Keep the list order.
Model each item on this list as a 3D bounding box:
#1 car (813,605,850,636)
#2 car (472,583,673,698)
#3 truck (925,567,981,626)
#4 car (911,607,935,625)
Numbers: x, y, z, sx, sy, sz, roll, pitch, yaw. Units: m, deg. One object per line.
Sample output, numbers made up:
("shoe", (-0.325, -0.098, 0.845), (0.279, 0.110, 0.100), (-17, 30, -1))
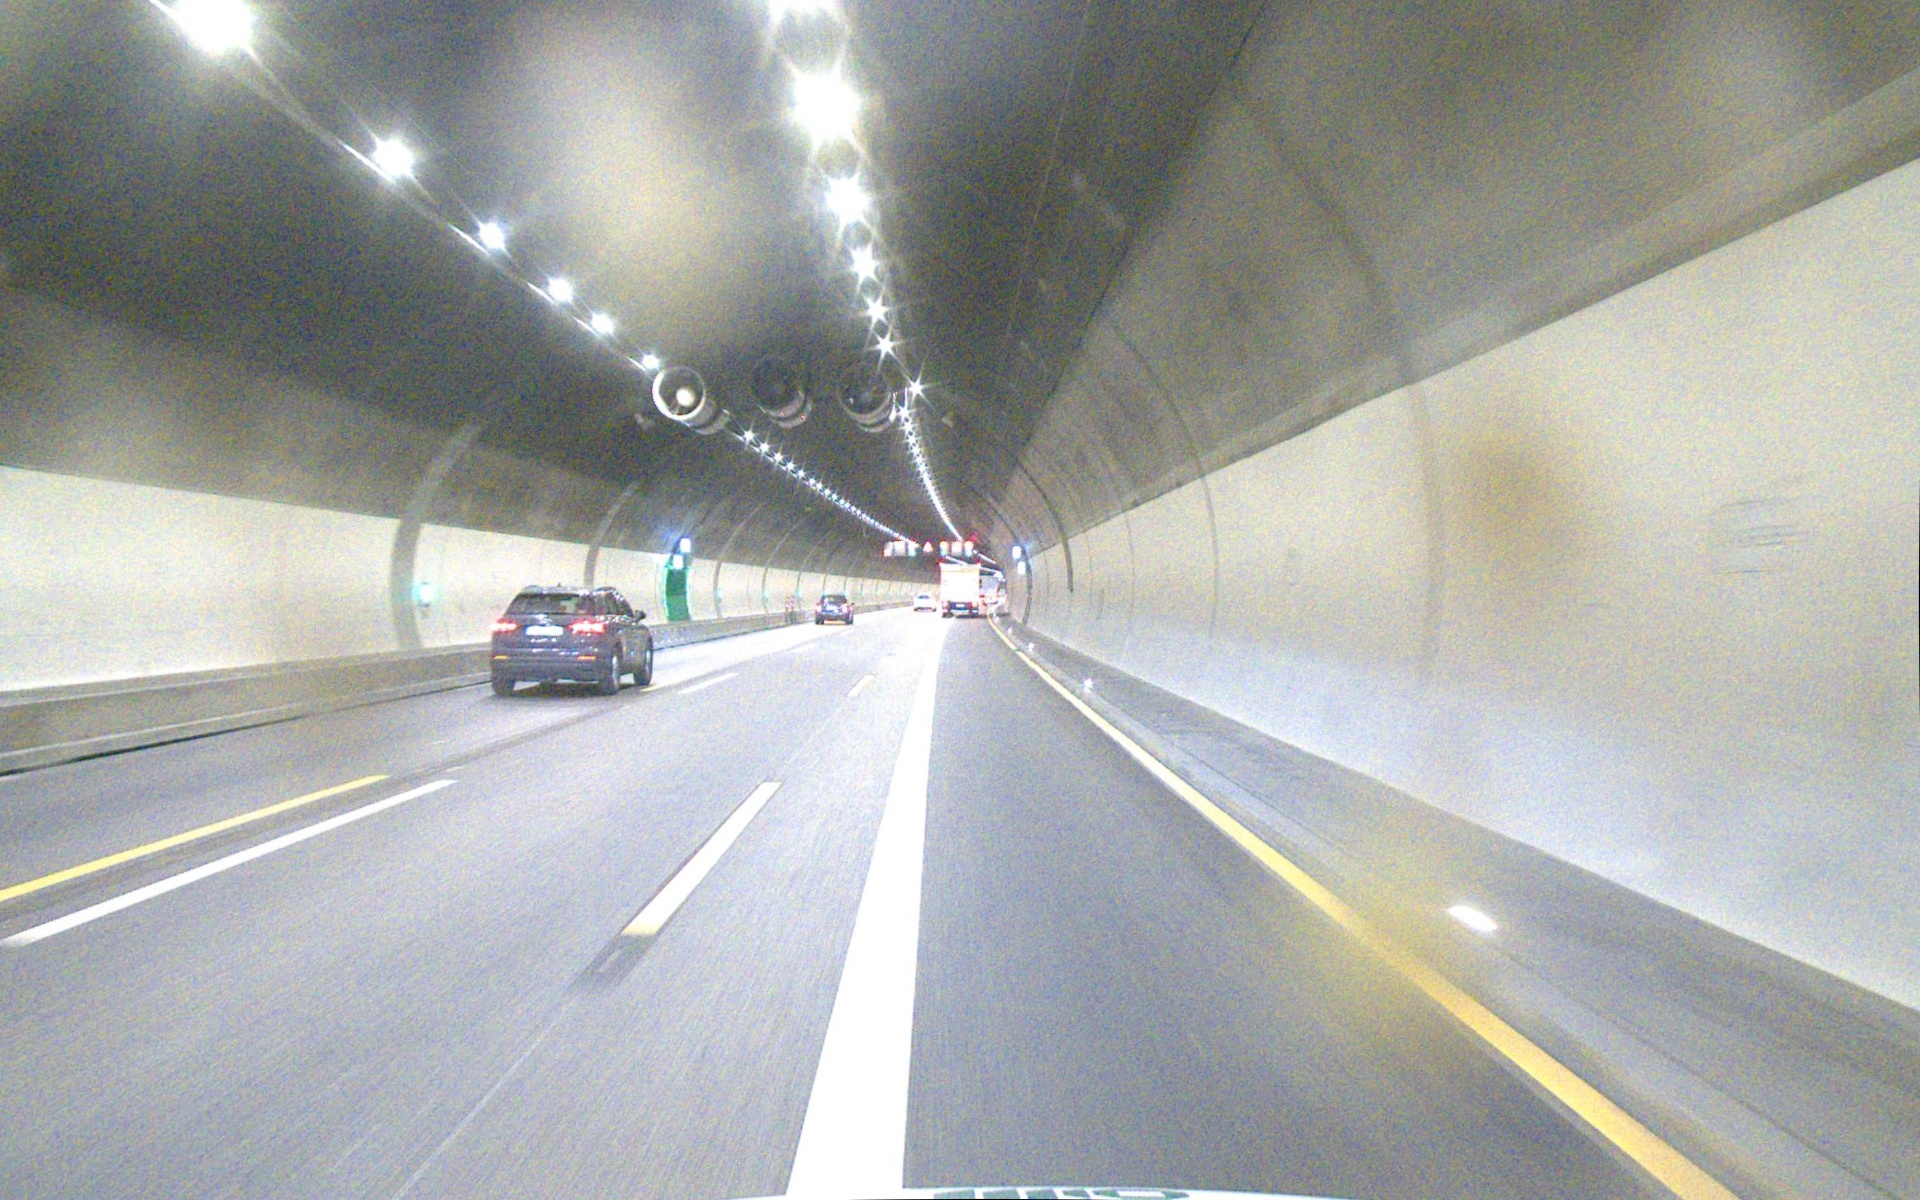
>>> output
("car", (-6.193, 0.991, 80.196), (1.655, 1.442, 3.921), (1, 0, -3))
("car", (-5.802, 0.584, 25.371), (1.953, 1.567, 4.742), (1, 0, 0))
("truck", (-0.532, -0.260, 110.579), (3.519, 3.714, 10.720), (1, 0, -1))
("car", (-3.100, 1.311, 139.075), (1.953, 1.437, 4.741), (1, 0, -1))
